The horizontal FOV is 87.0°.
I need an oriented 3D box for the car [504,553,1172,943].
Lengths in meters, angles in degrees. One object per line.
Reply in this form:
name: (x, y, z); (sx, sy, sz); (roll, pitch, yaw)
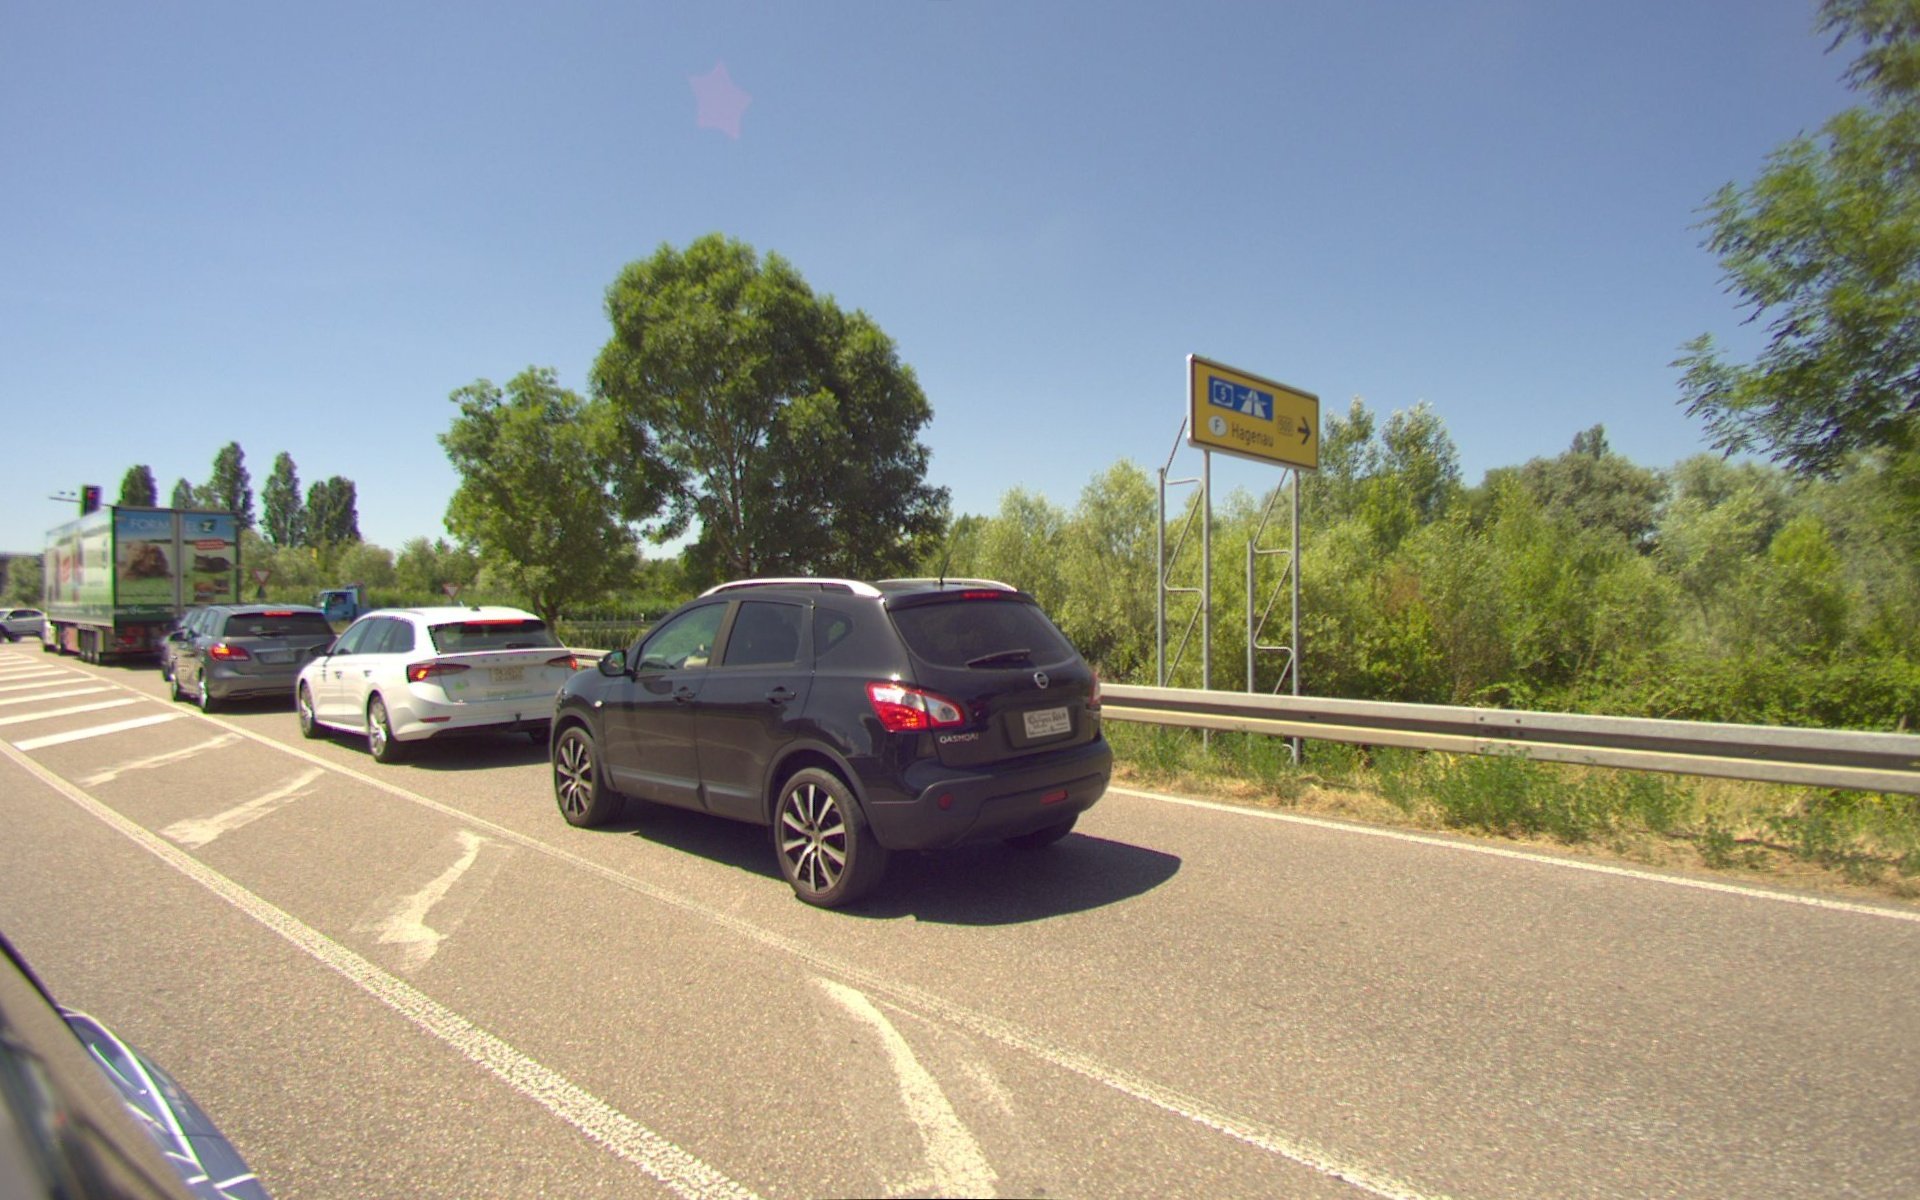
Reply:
car: (-1.090, 0.639, 6.363); (4.536, 1.601, 1.697); (-1, -1, 44)

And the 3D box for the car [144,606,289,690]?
car: (-15.486, 0.930, 21.000); (4.154, 1.573, 1.693); (-1, -1, 43)

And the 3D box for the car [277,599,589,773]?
car: (-5.844, 0.775, 10.909); (4.632, 1.490, 1.634); (-1, -1, 45)

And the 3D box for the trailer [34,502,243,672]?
trailer: (-24.718, -0.253, 29.961); (14.121, 4.075, 2.661); (-1, 0, 42)

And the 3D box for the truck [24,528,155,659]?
truck: (-29.759, -0.185, 34.513); (5.824, 4.075, 2.661); (-1, 0, 42)

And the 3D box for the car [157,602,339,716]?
car: (-11.259, 0.854, 15.876); (1.605, 1.549, 4.386); (1, -2, -45)

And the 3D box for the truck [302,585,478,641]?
truck: (-34.839, 0.845, 62.196); (9.040, 3.220, 2.697); (1, -2, -45)

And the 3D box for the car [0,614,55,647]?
car: (-43.087, 1.376, 45.252); (1.697, 1.446, 3.959); (0, -1, 0)
